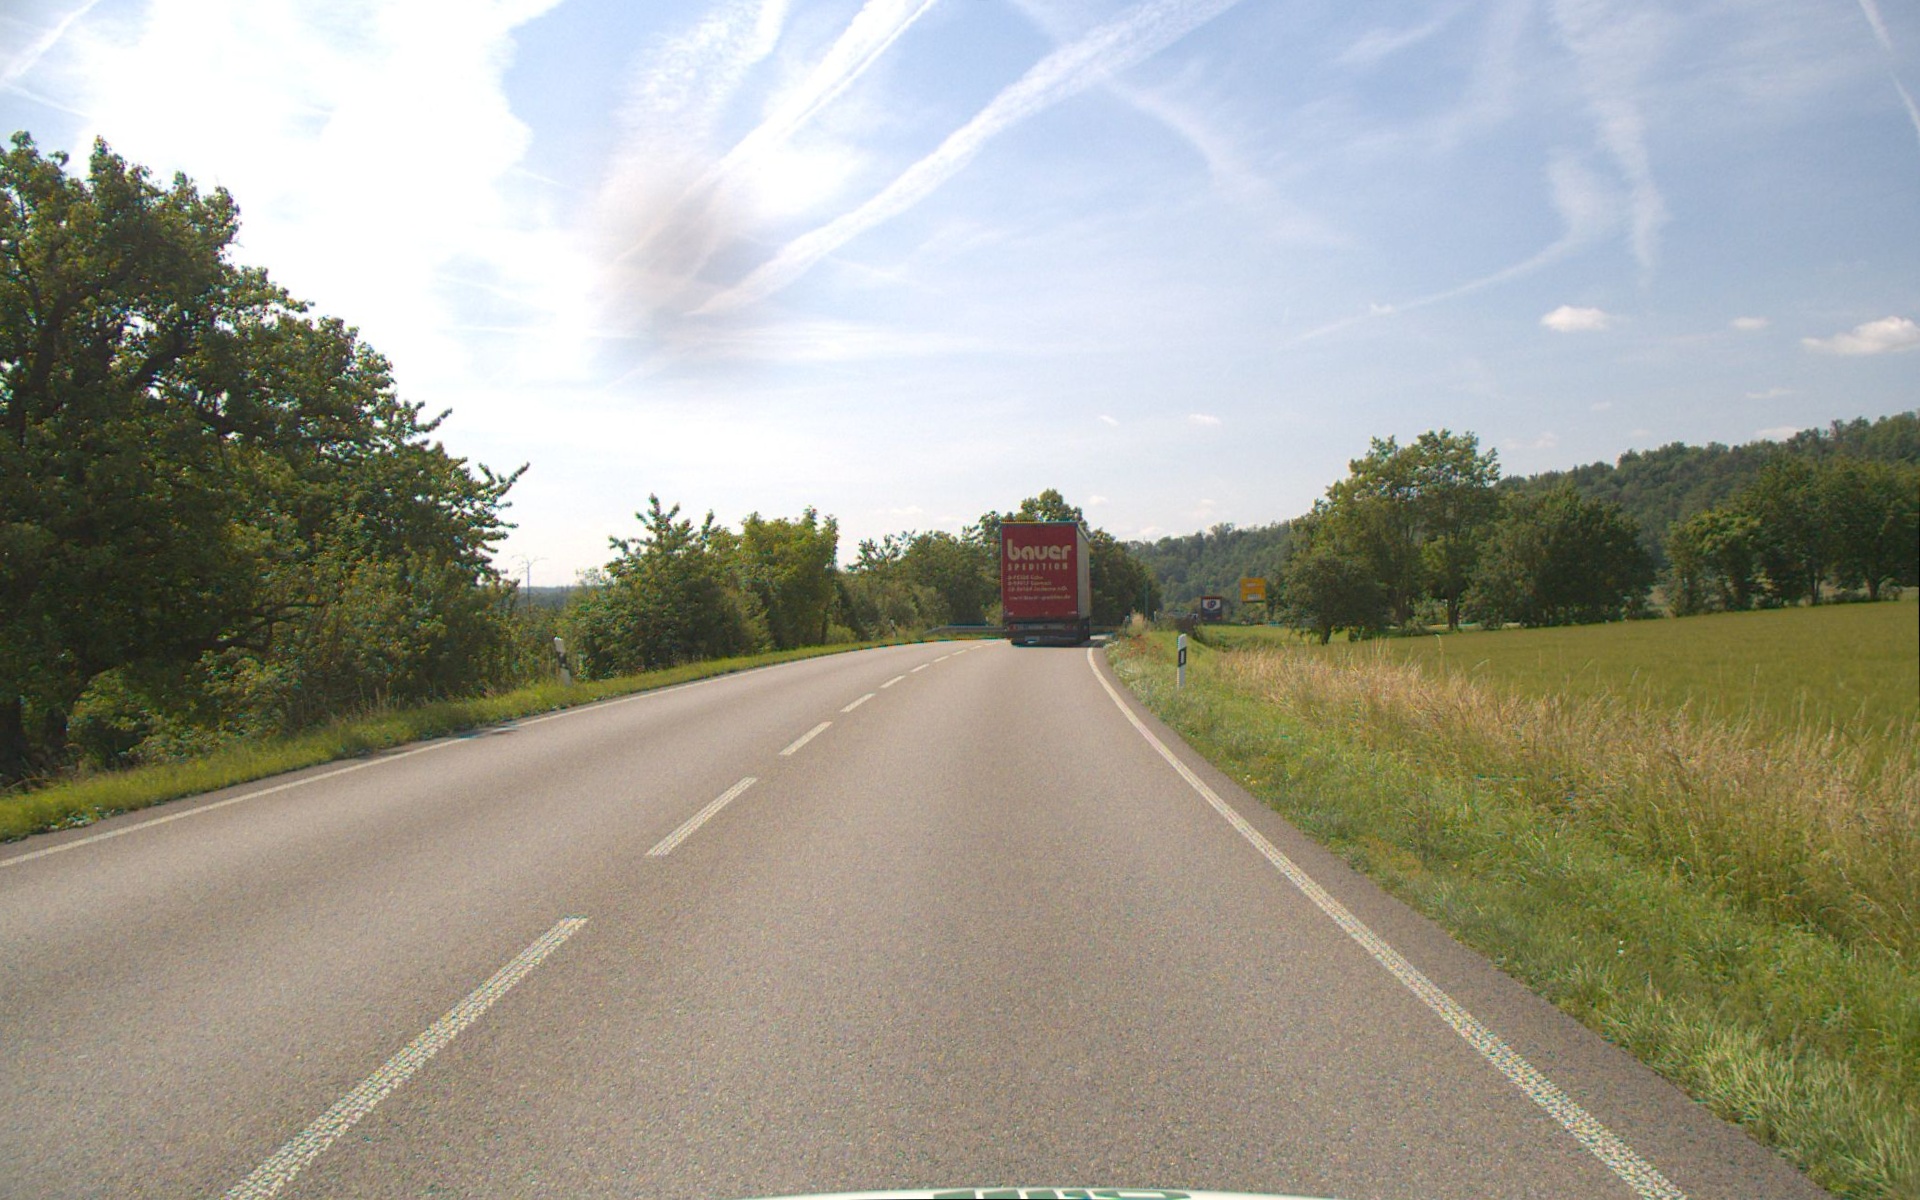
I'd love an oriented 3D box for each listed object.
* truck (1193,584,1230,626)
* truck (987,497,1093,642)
[{"bbox_3d":[31.033,0.722,203.531,3.820,4.772,16.389,-2,-1,10],"label":"truck"},{"bbox_3d":[3.034,-0.875,58.922,3.046,4.585,12.174,1,-1,6],"label":"truck"}]
